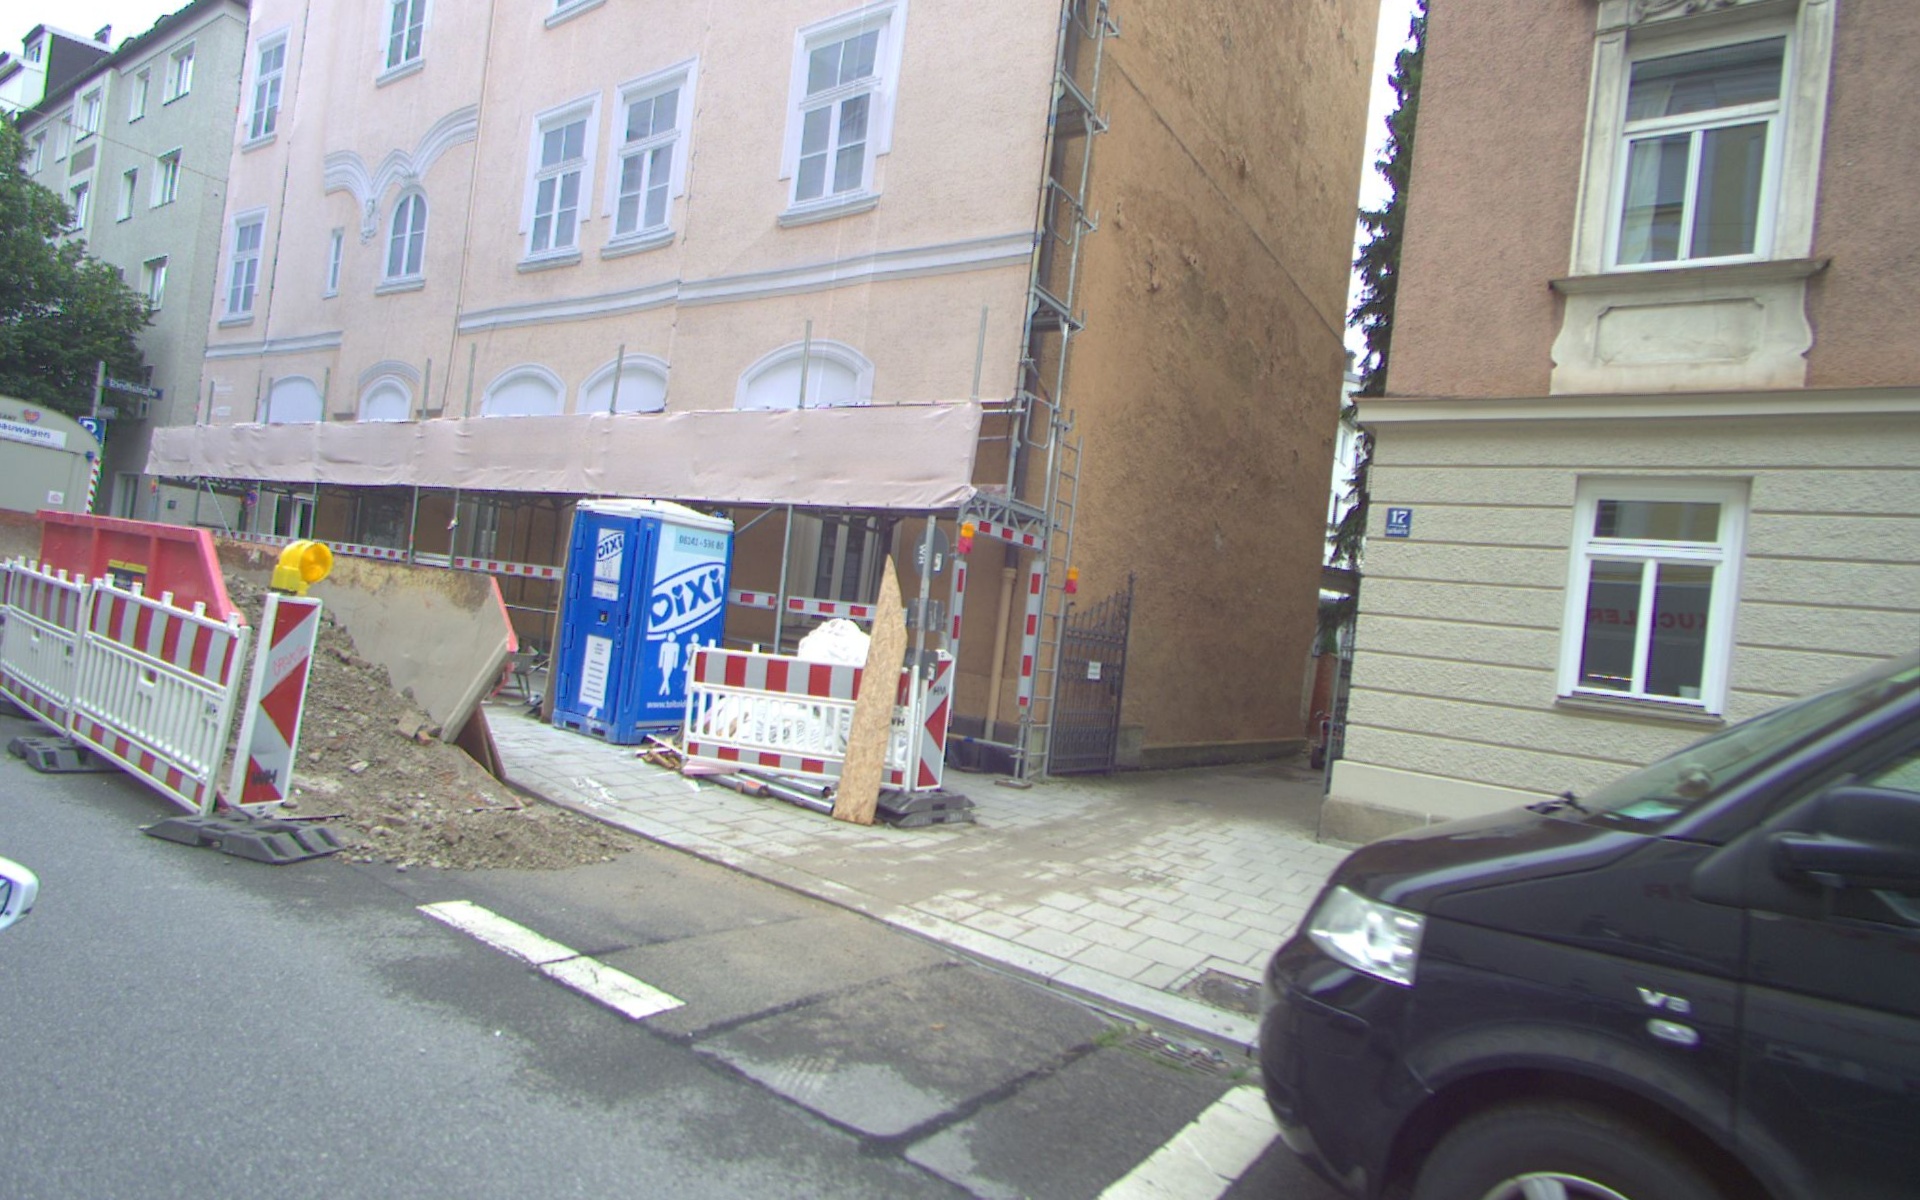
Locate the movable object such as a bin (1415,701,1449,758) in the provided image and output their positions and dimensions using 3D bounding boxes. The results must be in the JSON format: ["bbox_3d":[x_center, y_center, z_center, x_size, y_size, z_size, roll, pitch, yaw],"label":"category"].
[{"bbox_3d":[11.736,3.221,25.010,0.545,1.332,0.466,7,-1,37],"label":"movable object such as a bin"}]

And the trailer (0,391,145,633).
[{"bbox_3d":[-14.728,-1.408,14.483,6.791,2.871,2.507,6,-3,34],"label":"trailer"}]

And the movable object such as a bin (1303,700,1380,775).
[{"bbox_3d":[6.588,2.352,17.344,0.819,1.122,1.245,6,-1,37],"label":"movable object such as a bin"}]

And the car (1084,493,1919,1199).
[{"bbox_3d":[3.050,0.942,2.054,5.061,1.941,2.086,3,-4,35],"label":"car"}]
